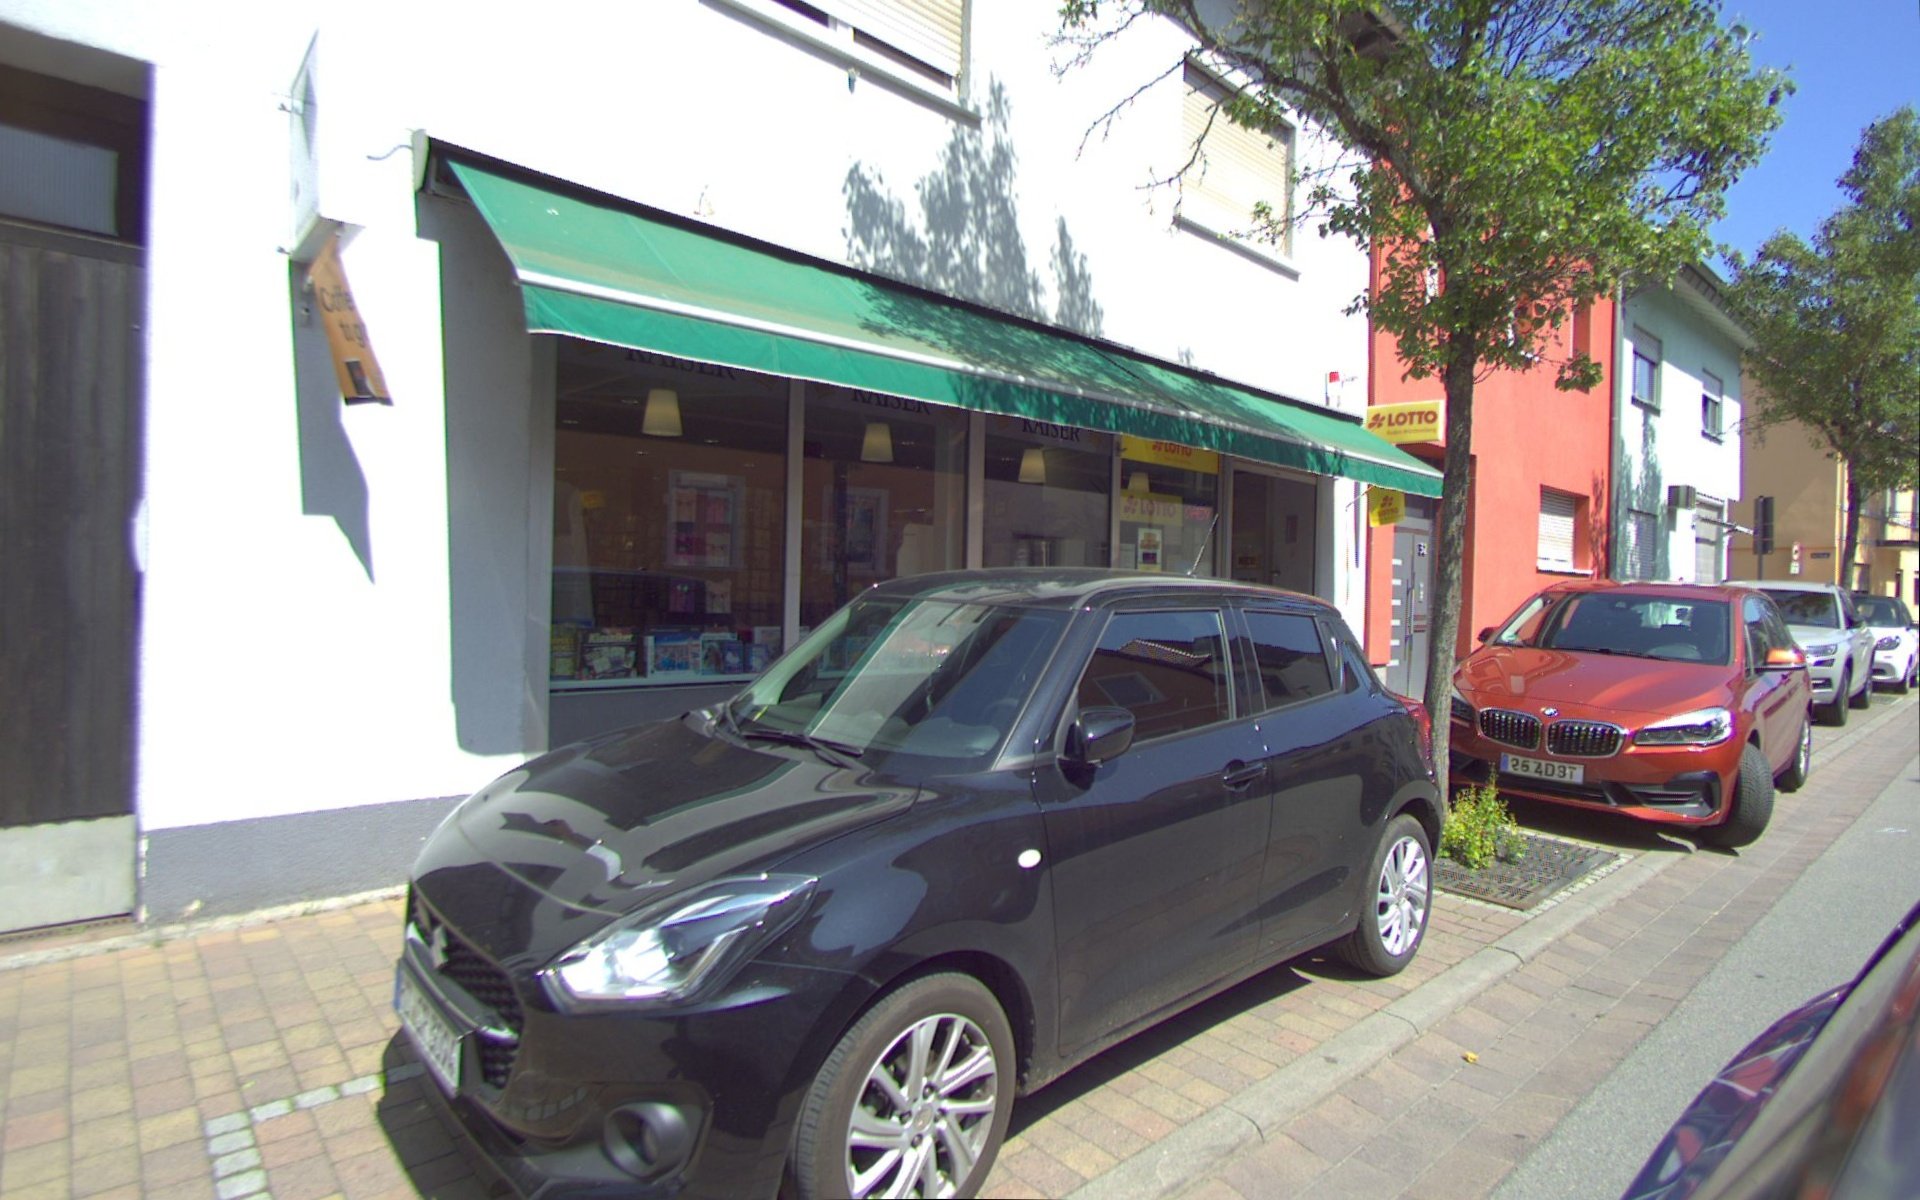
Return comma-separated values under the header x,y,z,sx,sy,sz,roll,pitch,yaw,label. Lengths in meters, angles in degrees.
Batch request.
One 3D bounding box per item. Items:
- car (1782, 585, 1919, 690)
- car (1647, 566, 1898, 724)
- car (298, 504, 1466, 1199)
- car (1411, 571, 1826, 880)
x,y,z,sx,sy,sz,roll,pitch,yaw,label
15.578,0.557,17.336,3.929,1.562,1.713,0,2,-42,car
10.692,0.497,13.191,4.583,1.706,1.868,-1,-2,-43,car
0.080,0.622,3.428,3.672,1.532,1.739,0,0,-42,car
4.963,0.636,7.373,1.829,1.608,4.023,0,0,44,car
